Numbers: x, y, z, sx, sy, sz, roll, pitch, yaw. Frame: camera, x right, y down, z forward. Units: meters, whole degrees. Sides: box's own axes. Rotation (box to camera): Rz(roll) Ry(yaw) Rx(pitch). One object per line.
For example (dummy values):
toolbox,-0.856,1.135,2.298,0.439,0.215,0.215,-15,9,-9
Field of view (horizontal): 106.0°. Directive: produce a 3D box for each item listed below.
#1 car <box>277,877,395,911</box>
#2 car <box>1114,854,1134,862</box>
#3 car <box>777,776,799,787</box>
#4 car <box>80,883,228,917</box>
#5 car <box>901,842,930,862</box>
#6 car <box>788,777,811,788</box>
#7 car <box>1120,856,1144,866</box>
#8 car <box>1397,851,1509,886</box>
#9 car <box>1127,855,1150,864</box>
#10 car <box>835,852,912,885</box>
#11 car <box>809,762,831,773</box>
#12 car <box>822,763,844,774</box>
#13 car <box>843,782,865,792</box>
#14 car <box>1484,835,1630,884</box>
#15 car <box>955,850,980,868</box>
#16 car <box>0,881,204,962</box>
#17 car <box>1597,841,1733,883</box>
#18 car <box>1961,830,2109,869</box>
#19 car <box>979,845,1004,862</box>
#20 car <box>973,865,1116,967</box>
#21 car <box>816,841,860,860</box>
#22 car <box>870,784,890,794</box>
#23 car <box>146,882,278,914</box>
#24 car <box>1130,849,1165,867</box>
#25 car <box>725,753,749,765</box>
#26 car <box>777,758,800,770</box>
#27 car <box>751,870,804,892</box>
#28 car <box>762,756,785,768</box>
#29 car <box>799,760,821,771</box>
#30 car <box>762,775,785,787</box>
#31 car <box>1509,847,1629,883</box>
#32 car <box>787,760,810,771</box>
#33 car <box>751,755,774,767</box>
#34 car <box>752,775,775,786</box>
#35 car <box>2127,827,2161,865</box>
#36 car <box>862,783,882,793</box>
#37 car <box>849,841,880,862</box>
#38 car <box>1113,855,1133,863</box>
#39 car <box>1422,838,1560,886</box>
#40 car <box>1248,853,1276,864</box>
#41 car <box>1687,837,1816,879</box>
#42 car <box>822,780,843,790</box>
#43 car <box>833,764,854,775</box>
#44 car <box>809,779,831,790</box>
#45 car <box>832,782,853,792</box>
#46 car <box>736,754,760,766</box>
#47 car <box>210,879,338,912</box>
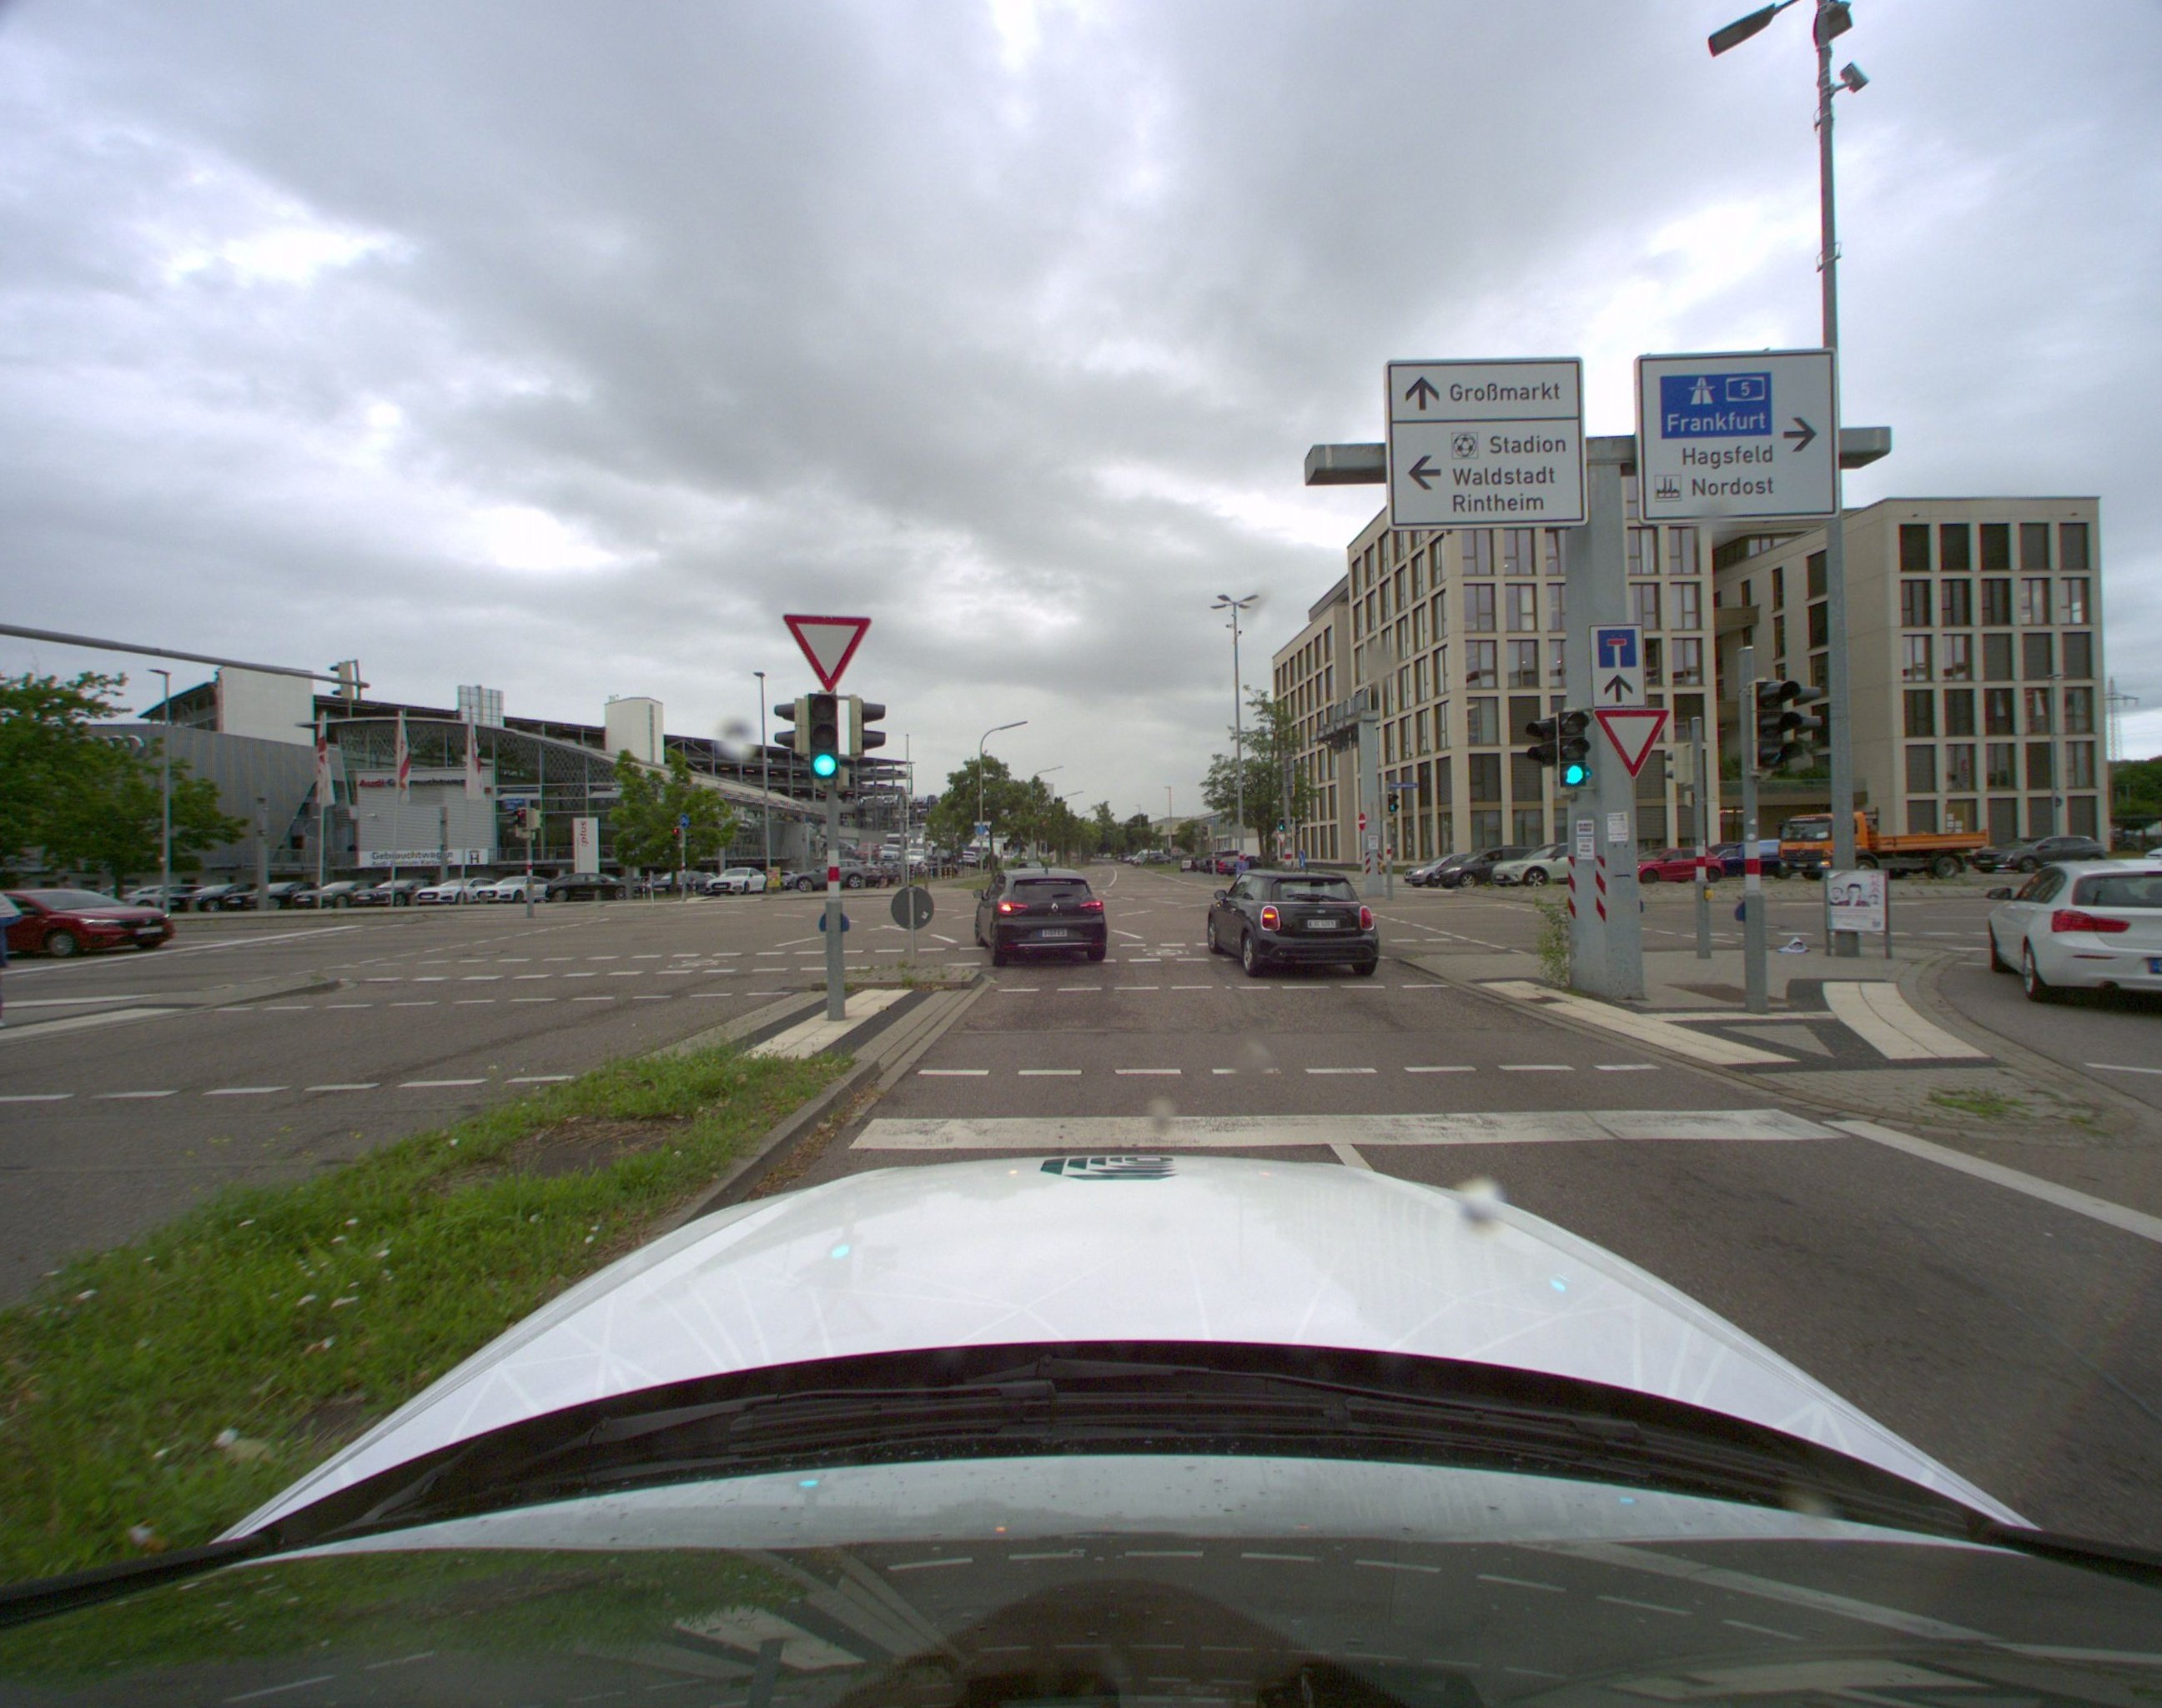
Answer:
car,-35.960,1.941,39.473,1.898,1.486,4.186,-1,-3,-2
car,11.210,1.148,212.497,5.156,2.014,2.143,0,-1,0
car,-54.654,-13.465,151.848,3.948,1.667,2.013,-1,0,33
car,-44.235,2.185,39.056,1.837,1.472,4.659,-1,-3,-2
car,-15.789,-0.204,77.878,1.988,1.823,3.996,0,-1,-2
car,-53.248,-13.485,153.948,3.948,1.667,2.013,-1,0,33
car,10.991,1.504,176.126,5.156,2.014,2.143,0,-1,0
car,15.962,0.629,35.050,4.075,1.432,1.749,0,-1,-3
car,11.940,1.080,169.535,4.771,1.891,2.142,0,-1,-1
car,-14.246,0.993,56.031,4.765,2.014,1.996,-3,-1,-5
car,-50.620,-16.843,158.070,3.948,1.667,2.013,-1,0,33
car,-48.978,-16.880,160.704,3.948,1.667,2.013,-1,0,33
car,-46.060,-13.573,165.197,3.948,1.667,2.013,-1,0,33
car,16.584,0.214,28.506,4.047,1.643,1.902,0,-1,-4
car,-10.881,0.520,78.234,1.988,1.618,3.996,0,-1,-2
car,-22.560,1.492,18.061,4.056,1.487,1.739,-3,2,-4
car,22.888,0.324,32.043,3.977,1.601,1.998,0,-1,-2
car,42.191,-0.178,36.101,4.090,1.657,2.001,0,-1,2
car,-8.583,-0.028,78.747,1.987,1.618,3.999,0,-1,0
car,-0.759,0.916,13.583,1.758,1.435,3.983,0,-1,-12
car,-25.297,-0.359,84.781,3.975,1.838,1.759,0,-1,-2
car,-42.348,-13.741,171.576,3.948,1.667,2.013,-1,0,33
car,-41.558,2.113,39.129,1.891,1.391,4.163,-1,-3,-2
car,11.832,0.771,145.373,6.097,3.116,2.134,0,-1,0
car,-60.458,-16.707,143.153,3.948,1.667,2.013,-1,0,33
car,-54.641,-16.794,152.004,3.948,1.667,2.013,-1,0,33
car,-26.749,2.371,71.811,3.980,1.838,1.757,0,-1,-5
car,-56.407,-16.828,149.395,3.948,1.667,2.013,-1,0,33
car,-51.961,-16.889,156.271,3.948,1.667,2.013,-1,0,33
car,-56.556,-13.395,149.651,3.948,1.667,2.013,-1,0,33
car,21.021,0.487,35.182,4.126,1.491,1.870,0,-1,-3
car,-53.422,-16.753,153.994,3.948,1.667,2.013,-1,0,33
car,-57.744,-16.867,147.552,3.948,1.667,2.013,-1,0,33
car,-57.516,-13.303,147.585,3.948,1.667,2.013,-1,0,33
car,48.826,-0.339,35.133,4.319,1.657,2.005,0,-1,10
car,-43.513,-13.701,169.639,3.948,1.667,2.013,-1,0,33
car,-20.688,-0.213,78.083,1.988,1.849,3.996,0,-1,-2
car,10.865,1.398,209.442,5.156,2.014,2.143,0,-1,0
car,15.919,0.323,31.770,4.397,1.769,1.998,0,-1,-3
car,23.290,0.601,104.579,3.238,1.332,1.477,1,-1,-17
car,29.376,0.188,35.765,4.126,1.769,1.998,0,-1,-3
car,-48.946,-13.562,160.489,3.948,1.667,2.013,-1,0,33
car,-47.543,-16.914,162.980,3.948,1.667,2.013,-1,0,33
car,-50.641,-13.482,157.950,3.948,1.667,2.013,-1,0,33
car,-47.658,-13.462,162.816,3.948,1.667,2.013,-1,0,33
car,-59.422,-16.815,145.186,3.948,1.667,2.013,-1,0,33
car,-38.819,2.024,39.360,1.884,1.471,4.374,-1,-3,-2
